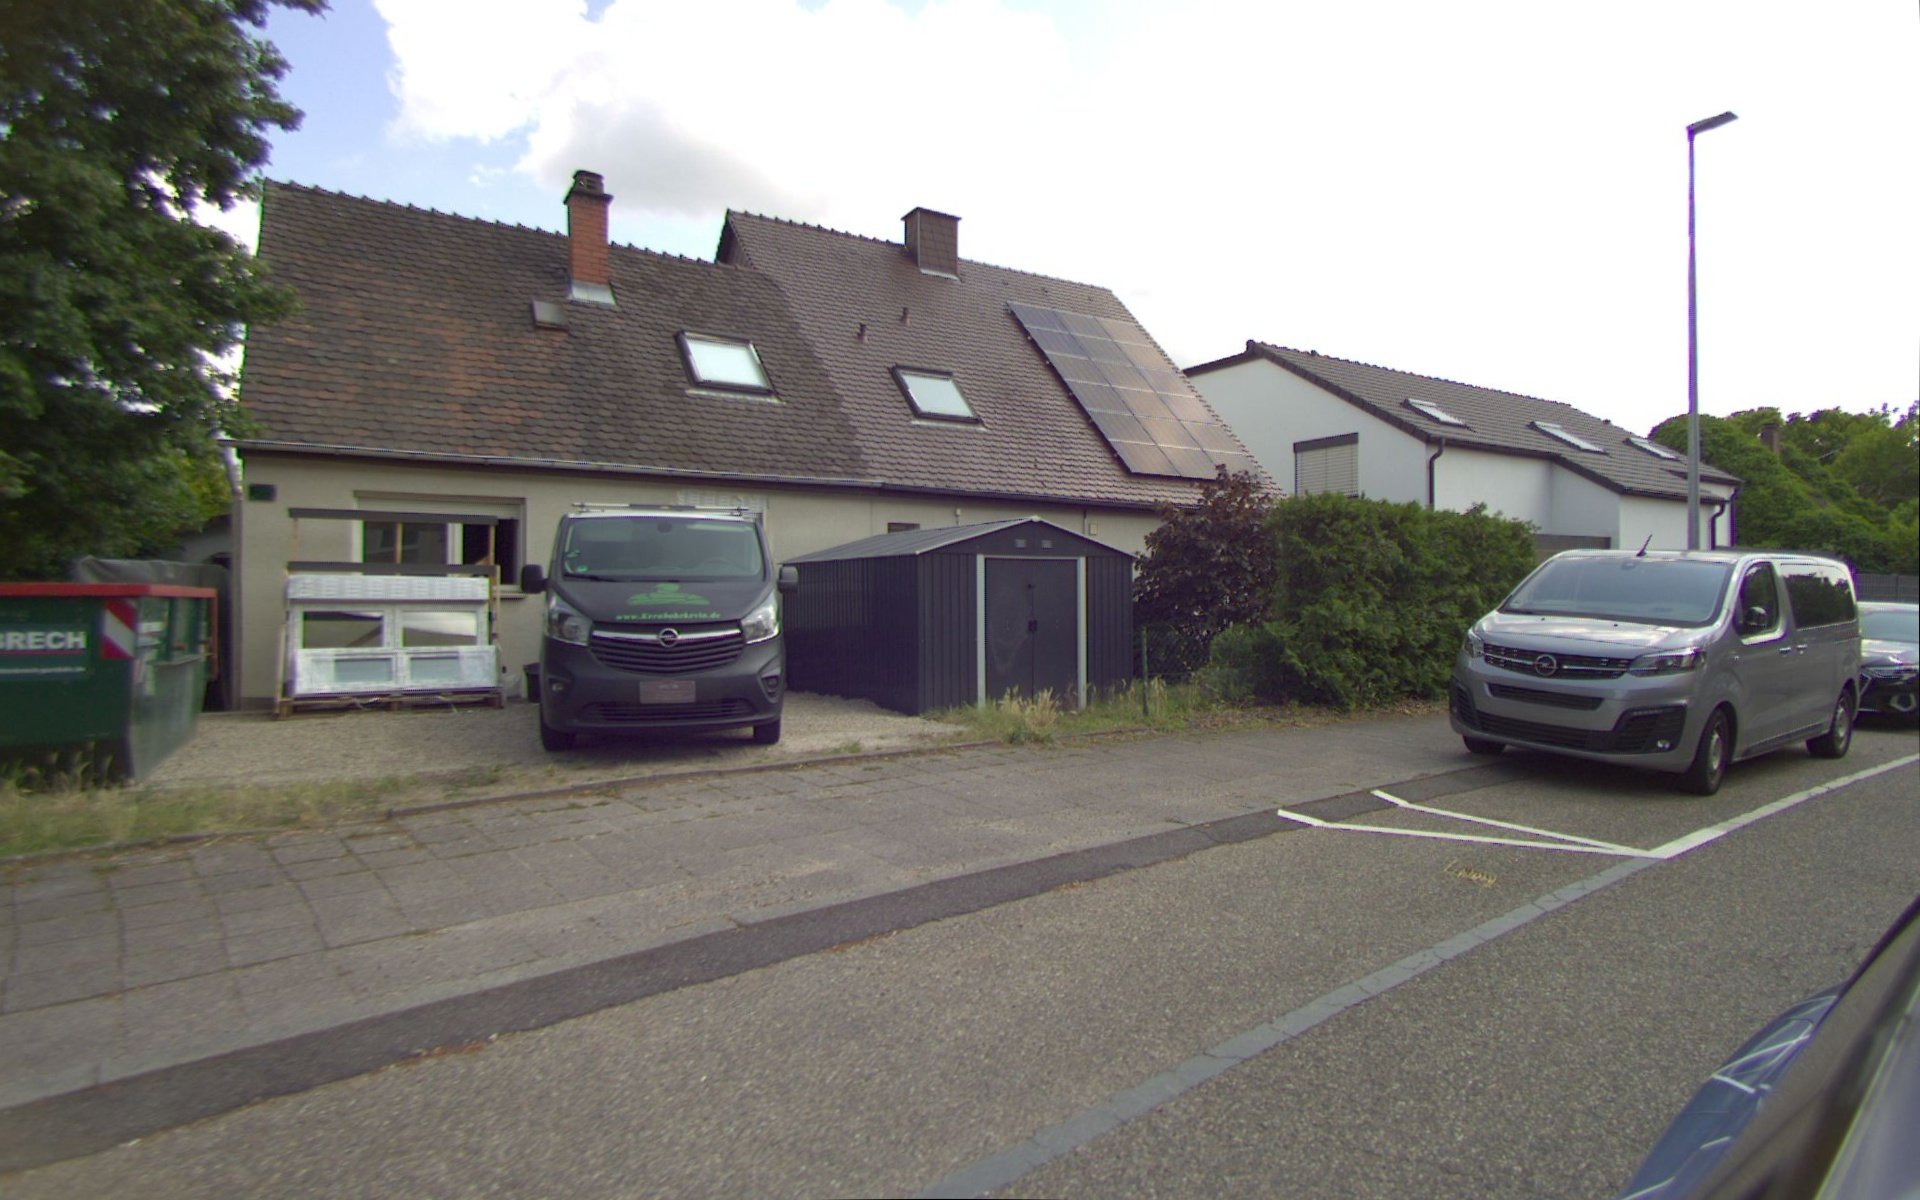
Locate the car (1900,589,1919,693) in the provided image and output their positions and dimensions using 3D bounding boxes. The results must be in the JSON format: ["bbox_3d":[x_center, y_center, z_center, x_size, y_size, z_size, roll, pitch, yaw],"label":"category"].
[{"bbox_3d":[17.070,0.630,16.162,4.639,1.599,1.857,0,0,-32],"label":"car"}]

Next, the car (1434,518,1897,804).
[{"bbox_3d":[6.465,0.385,9.079,4.783,1.968,1.849,0,2,-35],"label":"car"}]

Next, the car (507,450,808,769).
[{"bbox_3d":[-2.820,0.081,9.453,1.958,2.083,5.368,0,-1,-17],"label":"car"}]
